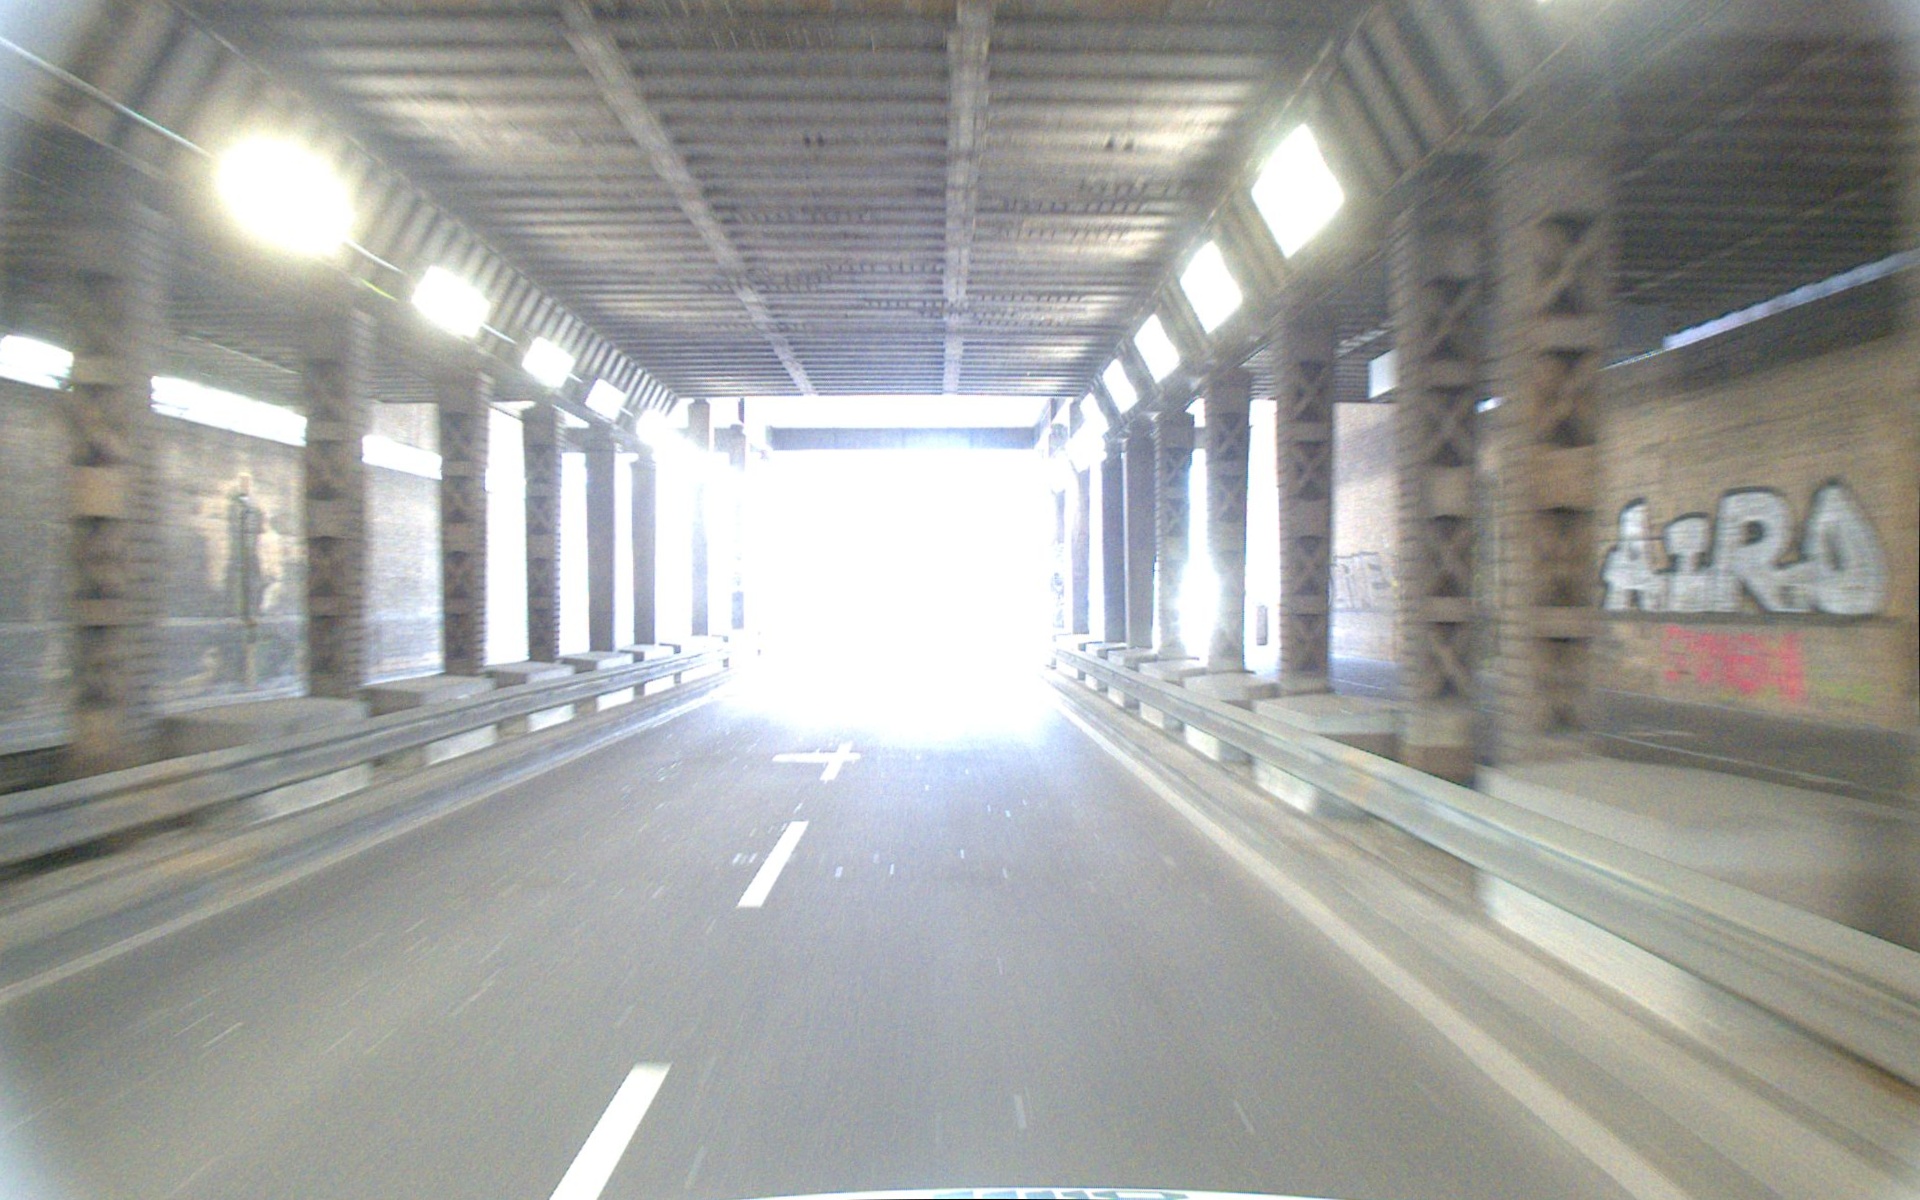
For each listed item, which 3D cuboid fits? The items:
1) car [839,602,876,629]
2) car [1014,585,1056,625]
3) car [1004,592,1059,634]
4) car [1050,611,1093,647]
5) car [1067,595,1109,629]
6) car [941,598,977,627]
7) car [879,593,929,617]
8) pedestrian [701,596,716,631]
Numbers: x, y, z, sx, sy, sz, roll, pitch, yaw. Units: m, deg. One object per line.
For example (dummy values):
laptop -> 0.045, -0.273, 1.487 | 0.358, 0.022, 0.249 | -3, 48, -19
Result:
car -> -5.597, 0.824, 90.425 | 1.716, 1.429, 4.416 | 0, 0, 1
car -> 3.979, 0.281, 87.227 | 2.127, 2.044, 4.809 | -1, 0, 3
car -> 2.713, 0.481, 63.569 | 1.908, 1.555, 4.089 | 0, 0, -1
car -> 5.038, 1.276, 74.250 | 1.694, 1.527, 4.003 | 0, 0, 7
car -> 6.227, 0.566, 80.114 | 1.775, 1.610, 4.003 | -1, 0, 8
car -> -0.017, 0.608, 82.308 | 1.750, 1.418, 4.105 | 0, 0, 0
car -> -3.790, 0.338, 112.716 | 1.886, 1.601, 3.878 | 0, 0, 25
pedestrian -> -12.144, 0.662, 79.874 | 0.507, 1.668, 0.620 | 0, 0, -28
